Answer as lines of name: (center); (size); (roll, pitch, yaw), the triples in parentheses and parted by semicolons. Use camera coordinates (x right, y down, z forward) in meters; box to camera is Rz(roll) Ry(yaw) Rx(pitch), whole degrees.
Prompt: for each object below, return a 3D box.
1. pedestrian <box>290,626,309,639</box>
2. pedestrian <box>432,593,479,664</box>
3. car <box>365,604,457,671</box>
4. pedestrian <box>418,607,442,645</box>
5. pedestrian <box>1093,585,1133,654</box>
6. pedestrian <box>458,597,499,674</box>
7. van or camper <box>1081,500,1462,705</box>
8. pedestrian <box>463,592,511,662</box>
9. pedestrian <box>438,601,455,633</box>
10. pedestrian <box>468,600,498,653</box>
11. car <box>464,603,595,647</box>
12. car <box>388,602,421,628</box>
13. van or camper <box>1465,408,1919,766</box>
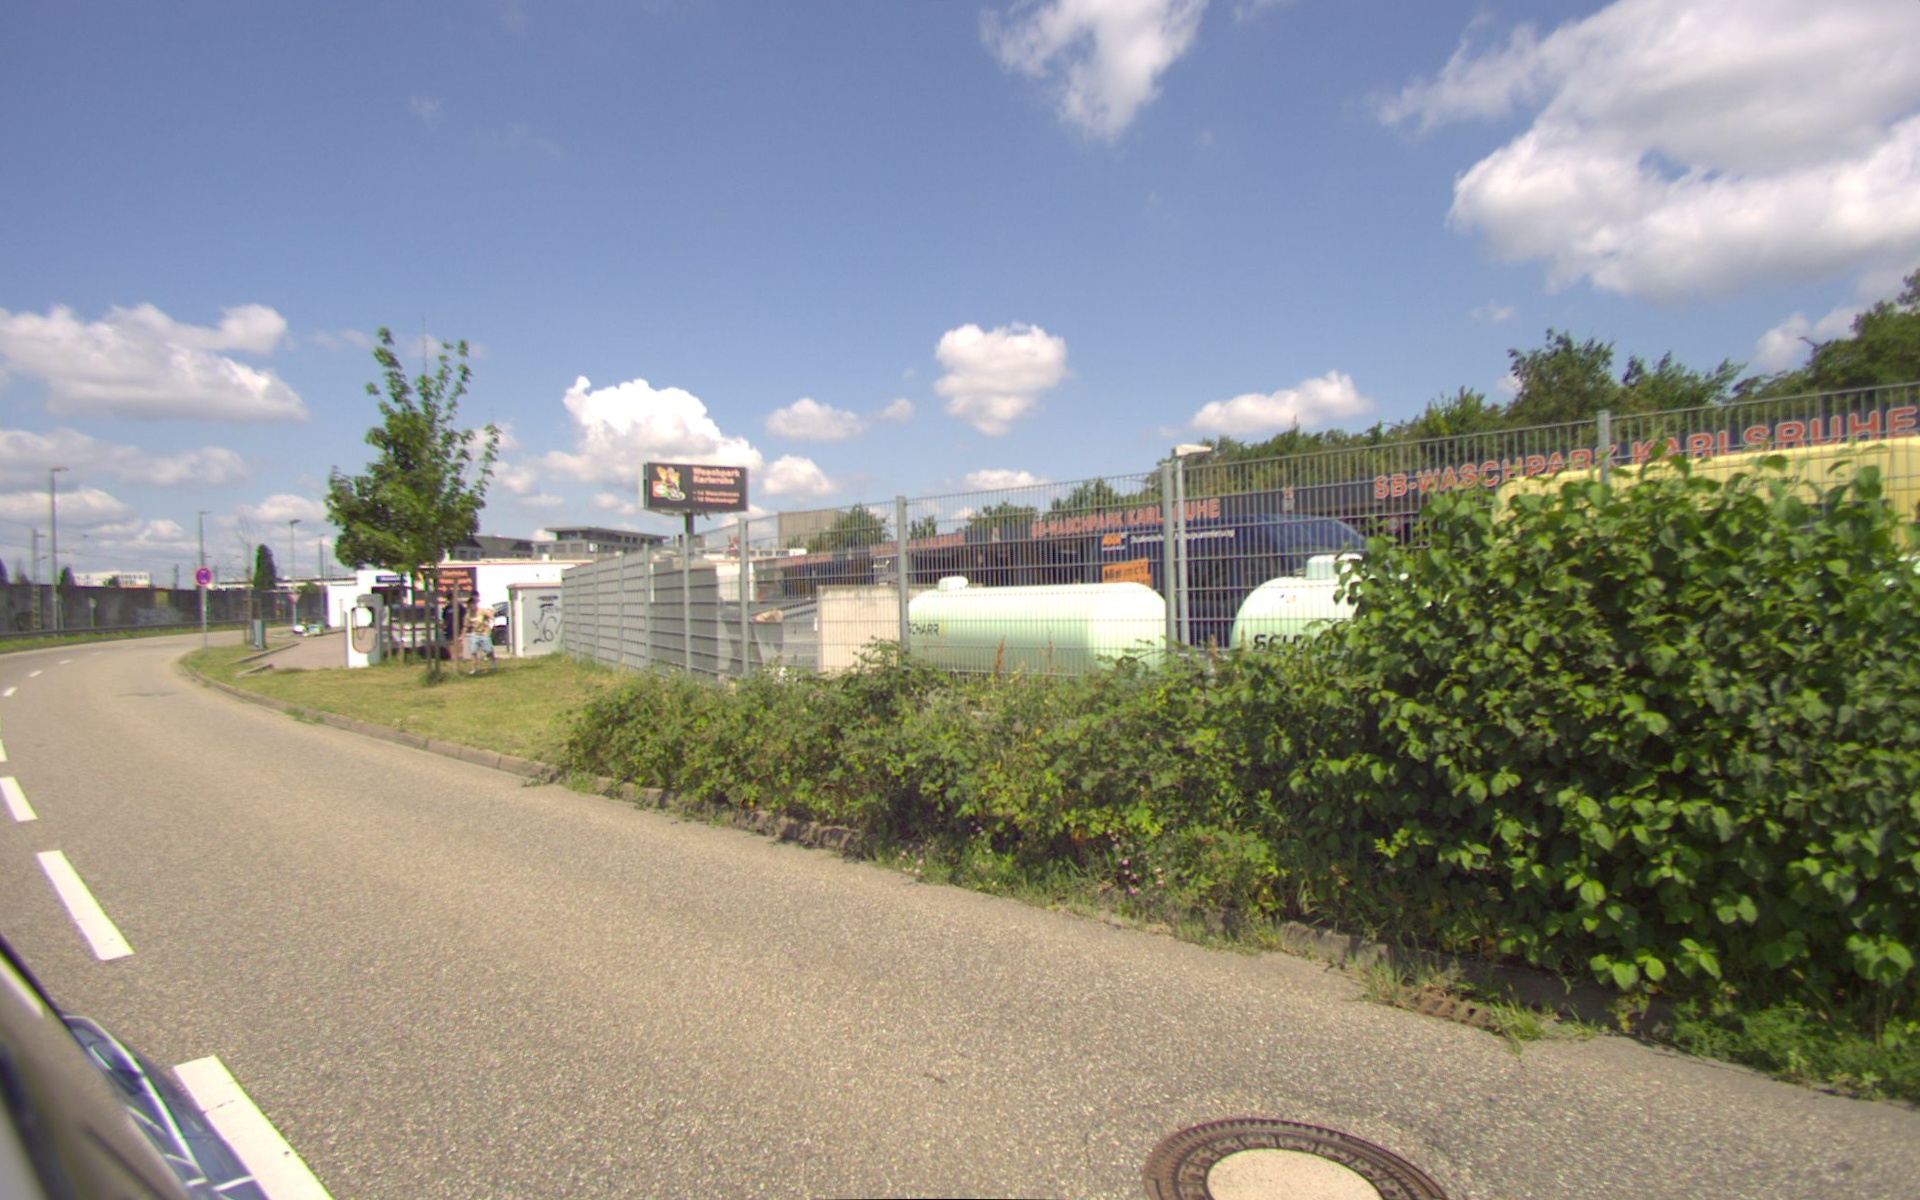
pedestrian: (-42.182, 2.079, 64.625); (0.850, 0.766, 0.821); (1, -2, -23)
pedestrian: (-11.548, 0.642, 23.169); (0.703, 1.591, 0.722); (-1, 0, -1)
car: (-14.536, 0.971, 26.669); (1.904, 1.529, 4.789); (-2, -1, -30)
pedestrian: (-23.995, 1.187, 45.815); (0.850, 1.666, 0.943); (-2, 0, -33)
pedestrian: (3.969, 0.498, 26.254); (0.683, 1.762, 0.747); (-1, 0, -29)
pedestrian: (-10.002, 0.714, 21.008); (0.727, 1.553, 0.818); (-1, 0, -28)
van or camper: (3.865, 0.016, 13.687); (1.848, 2.233, 5.125); (-1, 0, -27)
pedestrian: (-10.806, 0.610, 23.127); (0.749, 1.577, 0.713); (-1, 0, 3)
pedestrian: (-33.343, 1.116, 65.746); (0.924, 2.028, 0.868); (-1, 2, -23)
pedestrian: (-16.523, 0.908, 35.081); (0.850, 1.765, 0.729); (-2, 1, -29)
car: (-17.128, 0.949, 40.349); (4.489, 1.535, 2.006); (-2, 1, -33)
car: (-48.653, 1.283, 88.752); (1.965, 2.125, 5.027); (-1, 0, -22)
van or camper: (7.265, -0.099, 7.923); (2.210, 2.443, 5.678); (-1, 0, -28)
